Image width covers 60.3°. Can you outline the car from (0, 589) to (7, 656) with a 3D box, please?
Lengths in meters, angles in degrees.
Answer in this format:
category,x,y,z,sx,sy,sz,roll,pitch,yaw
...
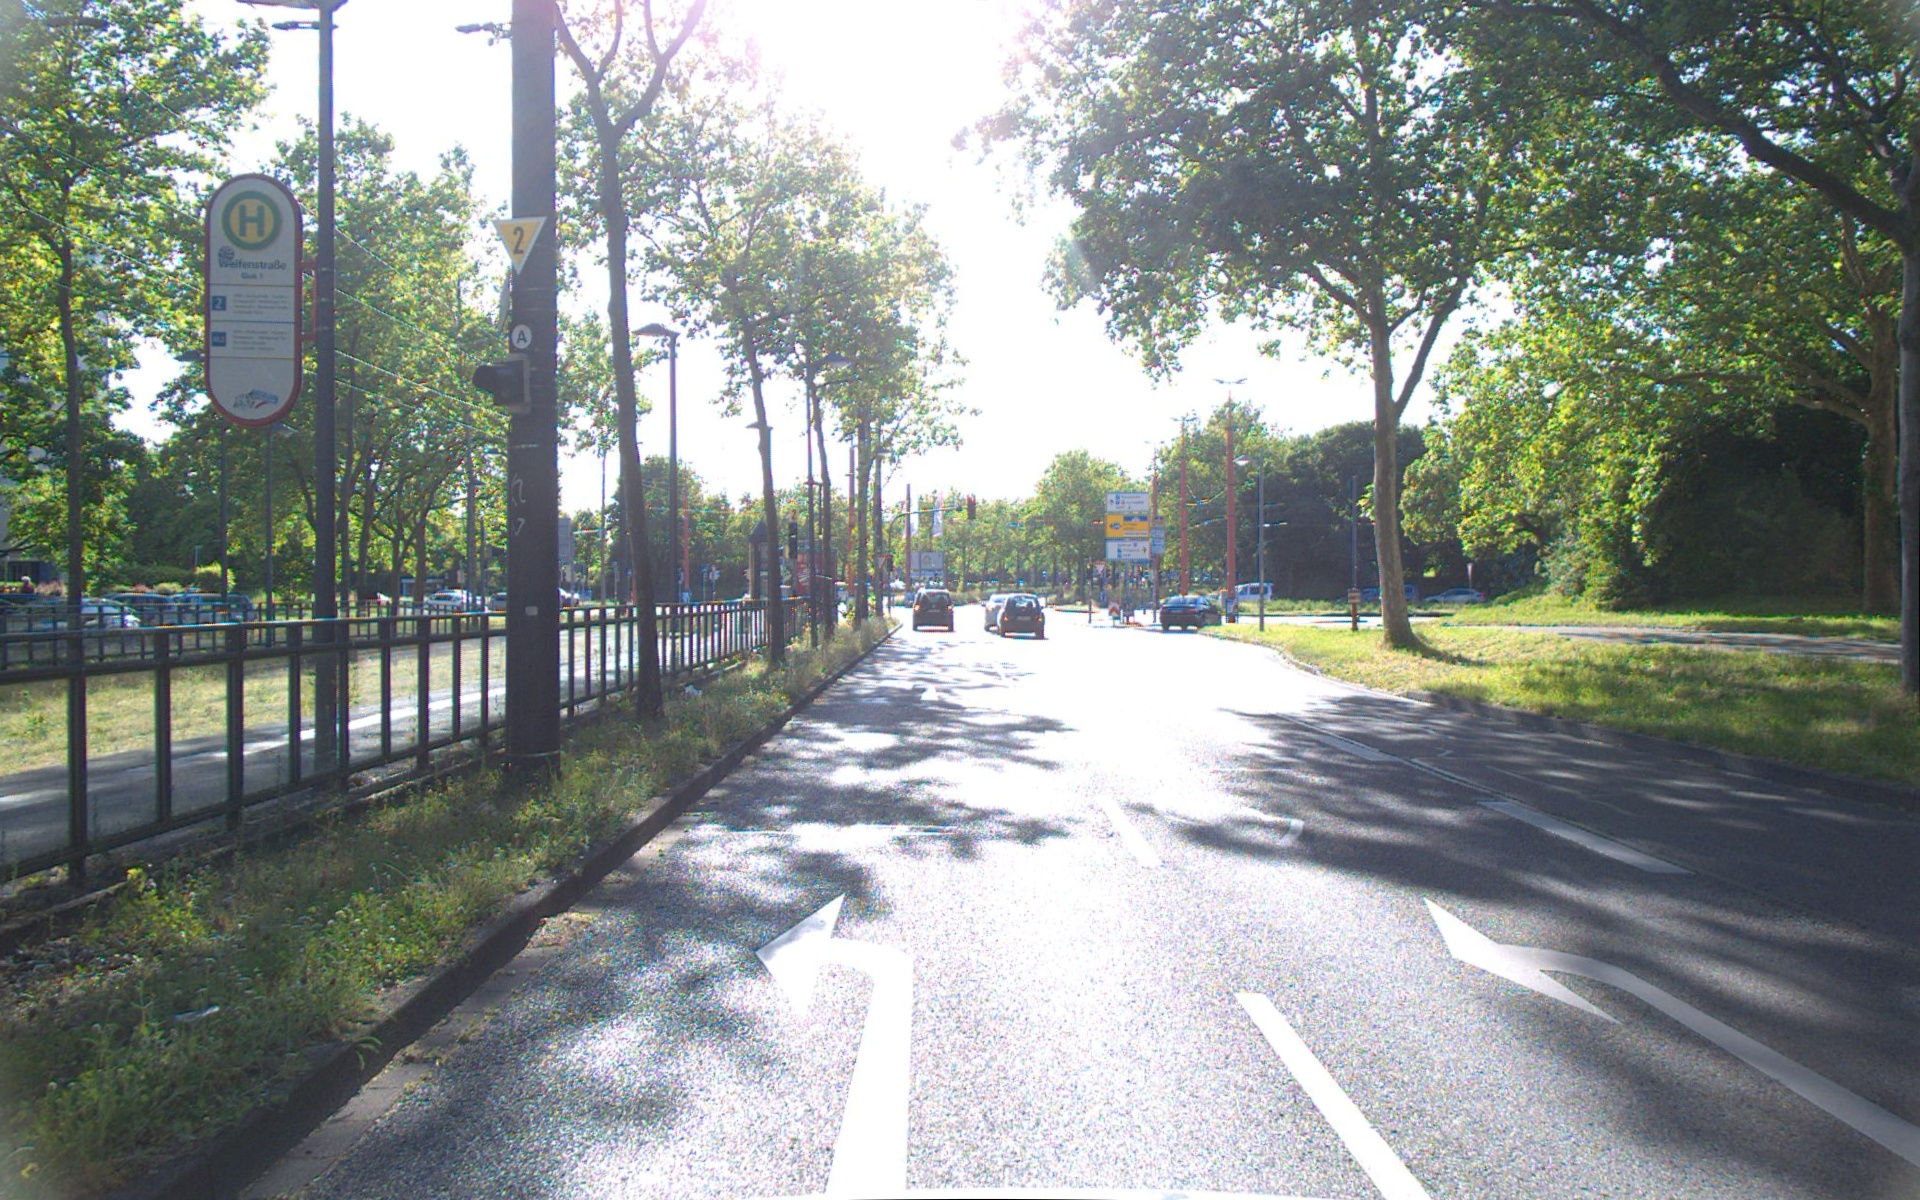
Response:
category,x,y,z,sx,sy,sz,roll,pitch,yaw
car,-24.131,0.522,38.472,1.439,1.574,3.120,2,1,41

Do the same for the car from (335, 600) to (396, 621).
category,x,y,z,sx,sy,sz,roll,pitch,yaw
car,-44.322,0.770,123.233,3.950,1.461,1.817,-1,2,18

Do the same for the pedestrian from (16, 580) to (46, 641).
category,x,y,z,sx,sy,sz,roll,pitch,yaw
pedestrian,-27.695,0.313,49.302,0.466,1.823,0.717,1,0,-2

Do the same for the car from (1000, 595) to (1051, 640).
category,x,y,z,sx,sy,sz,roll,pitch,yaw
car,2.369,0.601,60.430,1.606,1.520,3.502,1,1,-2

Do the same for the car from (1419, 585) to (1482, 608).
category,x,y,z,sx,sy,sz,roll,pitch,yaw
car,33.963,-0.232,114.534,3.908,1.521,1.859,1,0,26

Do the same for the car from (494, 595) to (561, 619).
category,x,y,z,sx,sy,sz,roll,pitch,yaw
car,-31.902,0.516,122.063,4.391,1.638,1.902,-1,2,18

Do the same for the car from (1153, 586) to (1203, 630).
category,x,y,z,sx,sy,sz,roll,pitch,yaw
car,9.562,0.344,72.805,1.940,1.823,4.616,0,0,4

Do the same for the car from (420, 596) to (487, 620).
category,x,y,z,sx,sy,sz,roll,pitch,yaw
car,-37.102,0.584,121.157,4.391,1.639,1.901,-1,0,18

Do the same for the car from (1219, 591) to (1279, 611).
category,x,y,z,sx,sy,sz,roll,pitch,yaw
car,20.562,0.057,117.828,3.908,1.361,1.728,1,0,25

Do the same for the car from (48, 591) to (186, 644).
category,x,y,z,sx,sy,sz,roll,pitch,yaw
car,-24.490,0.506,48.094,3.261,1.456,1.546,1,0,-44

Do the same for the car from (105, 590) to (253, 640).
category,x,y,z,sx,sy,sz,roll,pitch,yaw
car,-24.500,0.473,51.969,3.891,1.502,1.606,1,0,-44

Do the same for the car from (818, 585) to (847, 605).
category,x,y,z,sx,sy,sz,roll,pitch,yaw
car,-11.790,-0.416,152.991,1.784,1.811,4.571,1,0,8

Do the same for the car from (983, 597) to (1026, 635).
category,x,y,z,sx,sy,sz,roll,pitch,yaw
car,1.821,0.630,68.404,1.644,1.500,4.130,1,0,0

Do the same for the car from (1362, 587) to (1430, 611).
category,x,y,z,sx,sy,sz,roll,pitch,yaw
car,29.884,-0.064,113.327,4.264,1.586,1.871,1,0,24

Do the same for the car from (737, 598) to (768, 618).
category,x,y,z,sx,sy,sz,roll,pitch,yaw
car,-15.936,0.601,127.215,1.597,1.475,3.720,1,0,5

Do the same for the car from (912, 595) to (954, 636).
category,x,y,z,sx,sy,sz,roll,pitch,yaw
car,-1.138,0.610,67.790,1.676,1.631,3.348,0,0,-2

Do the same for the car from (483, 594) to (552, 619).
category,x,y,z,sx,sy,sz,roll,pitch,yaw
car,-31.806,0.488,118.982,4.391,1.638,1.902,-1,2,18

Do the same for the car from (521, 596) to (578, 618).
category,x,y,z,sx,sy,sz,roll,pitch,yaw
car,-31.892,0.524,128.582,3.903,1.649,1.901,0,0,18
